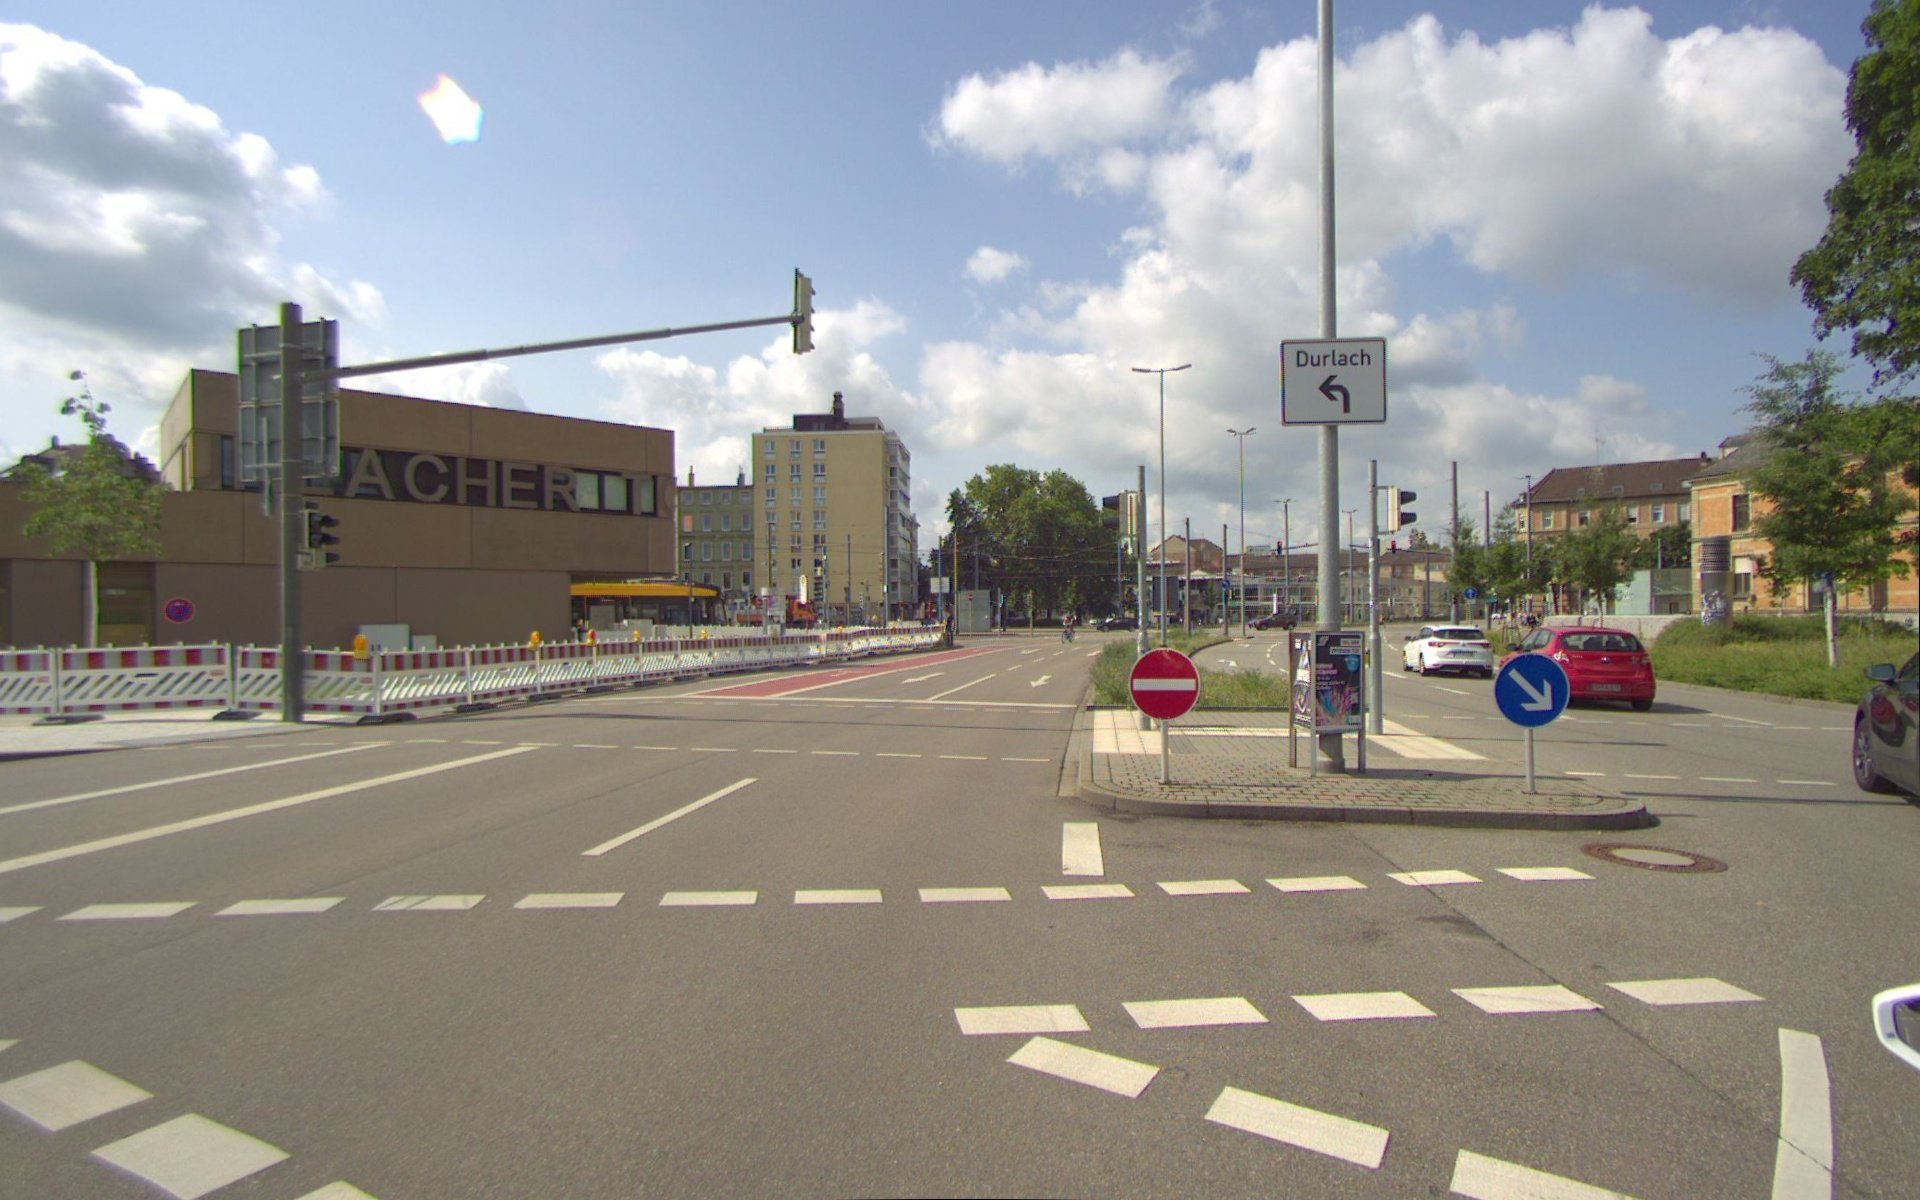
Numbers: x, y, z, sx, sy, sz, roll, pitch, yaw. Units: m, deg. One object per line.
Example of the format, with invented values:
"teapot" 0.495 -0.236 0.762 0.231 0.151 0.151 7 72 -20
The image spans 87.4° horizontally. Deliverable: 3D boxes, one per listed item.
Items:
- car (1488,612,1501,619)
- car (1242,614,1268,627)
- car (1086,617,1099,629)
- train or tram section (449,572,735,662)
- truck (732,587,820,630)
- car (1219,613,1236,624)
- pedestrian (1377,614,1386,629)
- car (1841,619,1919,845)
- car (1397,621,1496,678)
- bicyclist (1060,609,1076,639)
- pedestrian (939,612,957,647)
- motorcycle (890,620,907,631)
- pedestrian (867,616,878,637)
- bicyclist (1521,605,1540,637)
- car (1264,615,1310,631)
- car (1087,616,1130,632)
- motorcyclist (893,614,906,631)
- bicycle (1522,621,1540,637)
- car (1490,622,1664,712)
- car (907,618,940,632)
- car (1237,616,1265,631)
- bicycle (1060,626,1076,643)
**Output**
"car" 106.812 3.109 200.768 1.966 1.461 3.989 -1 -1 33
"car" 34.944 2.442 118.943 1.966 1.550 3.989 -1 -1 33
"car" 21.601 3.726 163.726 1.767 1.792 4.003 -1 -1 13
"train or tram section" -16.385 0.768 45.970 12.324 3.619 2.635 1 -1 -43
"truck" -17.207 0.802 94.135 7.781 3.907 2.201 -1 -1 2
"car" 41.778 2.913 156.955 1.959 1.617 4.003 0 -1 7
"pedestrian" 45.531 2.342 108.551 0.665 1.556 0.671 0 -1 -21
"car" 8.139 0.929 7.587 1.782 1.528 4.191 0 -2 35
"car" 13.925 1.378 28.979 1.817 1.491 4.337 -1 -1 16
"bicyclist" 6.693 1.490 62.157 0.797 1.847 1.159 0 -1 18
"pedestrian" -0.575 1.415 48.344 0.723 1.703 0.641 -1 -1 15
"motorcycle" -6.478 2.725 105.608 0.768 1.130 2.434 -1 -1 23
"pedestrian" -7.914 2.428 91.170 0.687 1.885 0.819 -1 -1 18
"bicyclist" 31.104 1.128 54.791 0.724 1.724 0.965 -3 -1 22
"car" 32.040 2.232 98.507 3.999 1.528 1.815 0 -1 3
"car" 14.711 2.396 99.741 3.999 1.528 1.815 0 -1 3
"motorcyclist" -6.353 2.341 105.890 0.873 1.805 1.242 -1 -1 23
"bicycle" 31.121 1.598 54.777 0.615 0.821 1.788 -2 -2 22
"car" 11.674 1.184 19.306 1.785 1.458 4.069 1 0 16
"car" -4.323 2.988 120.896 3.922 1.684 2.000 0 -1 -2
"car" 34.079 2.747 117.558 1.822 1.742 3.986 -2 -1 36
"bicycle" 6.698 2.099 62.183 0.606 1.015 2.019 -1 -1 16
